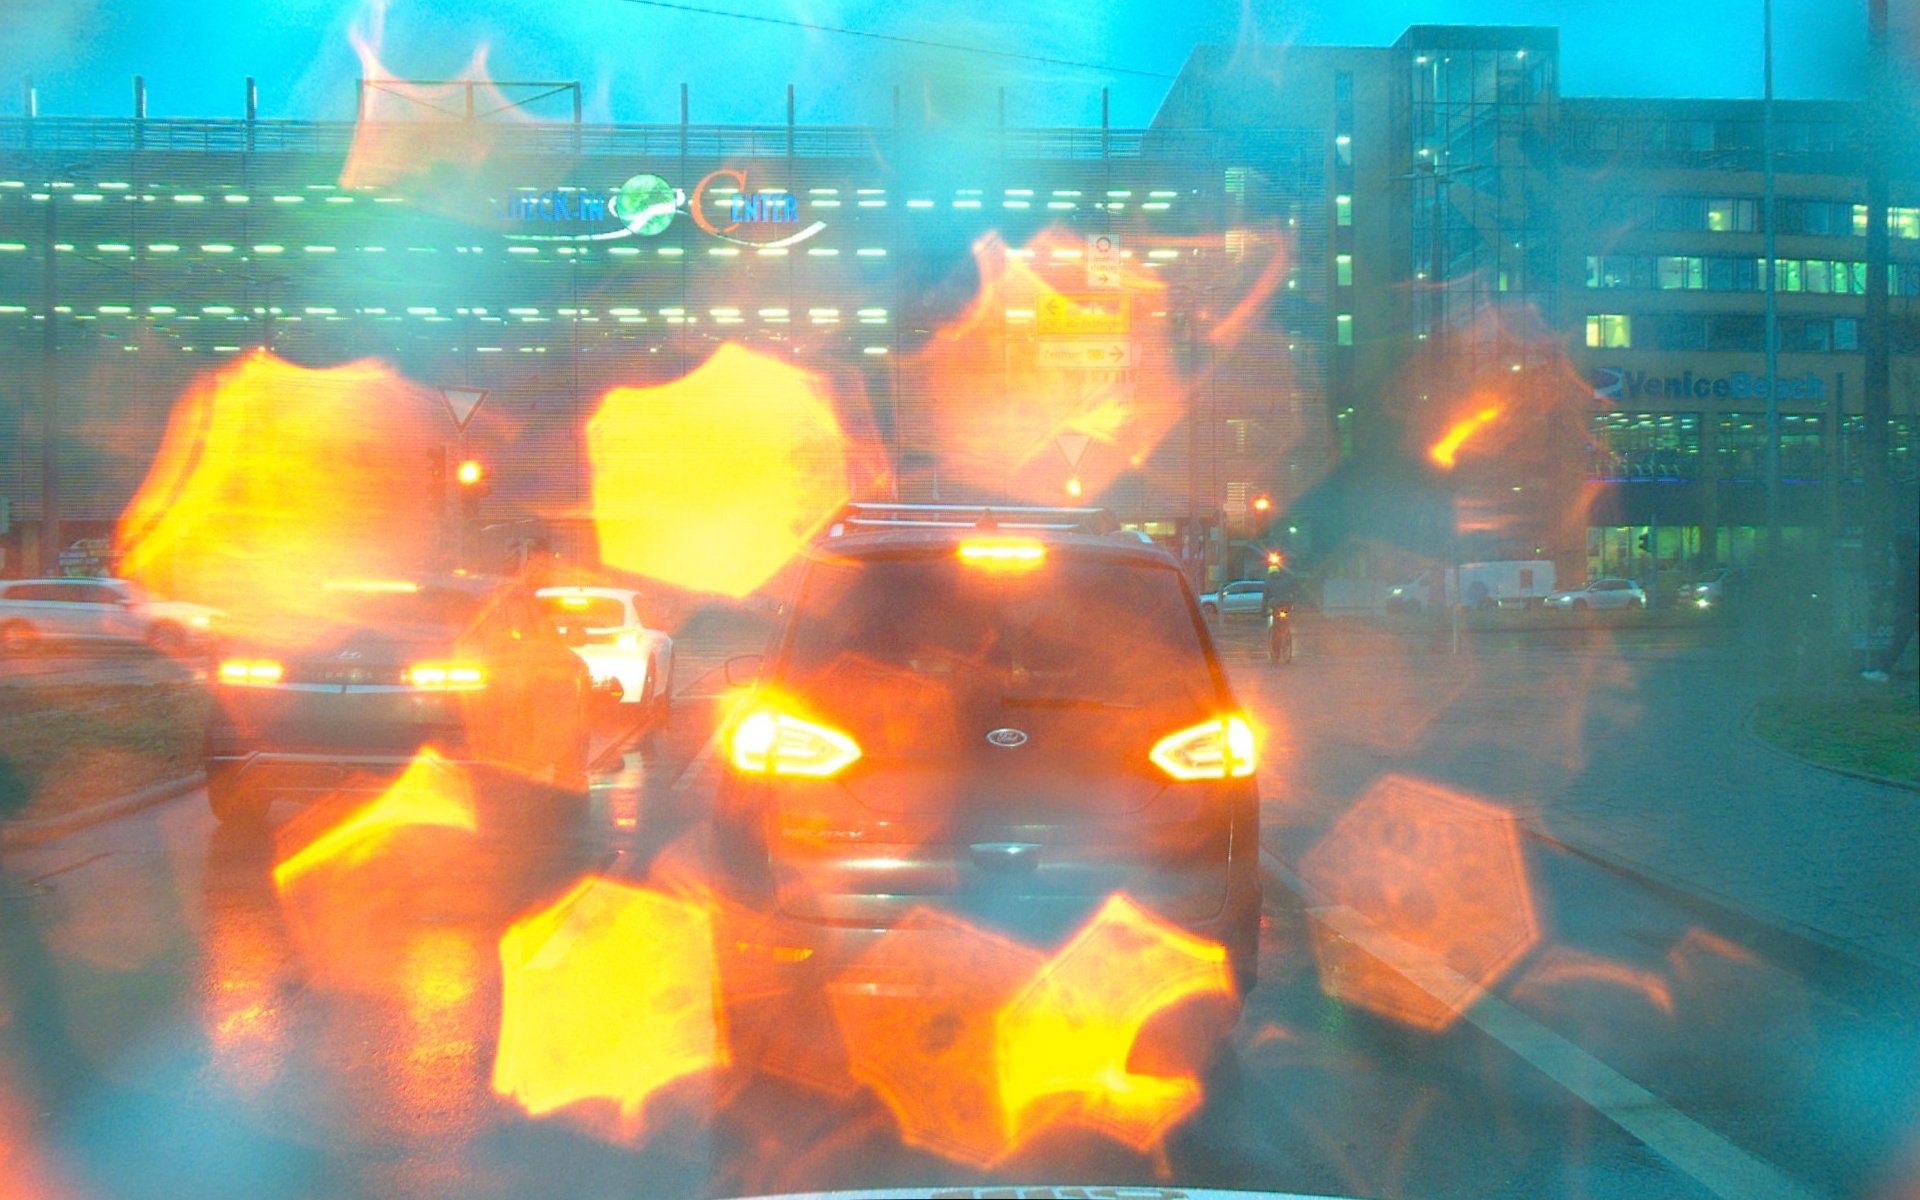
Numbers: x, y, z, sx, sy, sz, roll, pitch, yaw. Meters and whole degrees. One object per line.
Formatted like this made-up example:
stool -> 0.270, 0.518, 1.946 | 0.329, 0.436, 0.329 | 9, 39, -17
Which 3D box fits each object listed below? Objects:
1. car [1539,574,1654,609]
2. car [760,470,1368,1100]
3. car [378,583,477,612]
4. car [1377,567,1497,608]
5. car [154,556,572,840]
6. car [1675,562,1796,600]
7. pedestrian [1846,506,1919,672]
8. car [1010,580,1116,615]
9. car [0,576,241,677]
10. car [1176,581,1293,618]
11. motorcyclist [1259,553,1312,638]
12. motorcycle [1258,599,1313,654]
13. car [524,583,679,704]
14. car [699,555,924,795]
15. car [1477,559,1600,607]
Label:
car -> 26.443, -0.362, 68.772 | 4.136, 1.414, 1.797 | -1, 0, -8
car -> 0.198, 0.521, 6.877 | 1.700, 1.768, 4.244 | 2, 0, -3
car -> -22.361, -0.112, 69.586 | 3.687, 1.186, 1.678 | -1, 0, -6
car -> 19.398, -0.522, 67.323 | 4.336, 1.623, 1.797 | -1, 0, -8
car -> -3.868, 0.542, 11.439 | 1.718, 1.601, 3.996 | 0, 0, -5
car -> 32.788, -0.813, 69.981 | 4.348, 1.561, 1.797 | -1, 0, -8
pedestrian -> 11.477, -0.124, 20.046 | 1.146, 1.957, 0.898 | 2, 1, 22
car -> 4.258, -0.120, 68.910 | 4.136, 1.414, 1.797 | -1, 0, -8
car -> -16.901, 0.503, 32.731 | 4.584, 1.883, 1.827 | -1, 0, -11
car -> 11.020, -0.021, 66.602 | 4.336, 1.414, 1.797 | -1, 0, -8
motorcyclist -> 6.067, -0.092, 30.914 | 0.850, 1.561, 1.109 | 0, 0, 5
motorcycle -> 6.075, 0.492, 30.973 | 0.835, 0.989, 1.582 | 0, 0, 5
car -> -4.139, 0.448, 19.555 | 1.512, 1.273, 4.060 | 0, 0, -8
car -> -1.230, 0.546, 13.823 | 1.604, 1.726, 3.667 | 1, 0, -5
car -> 25.073, -0.742, 71.735 | 4.748, 2.035, 1.797 | -1, 0, -8
